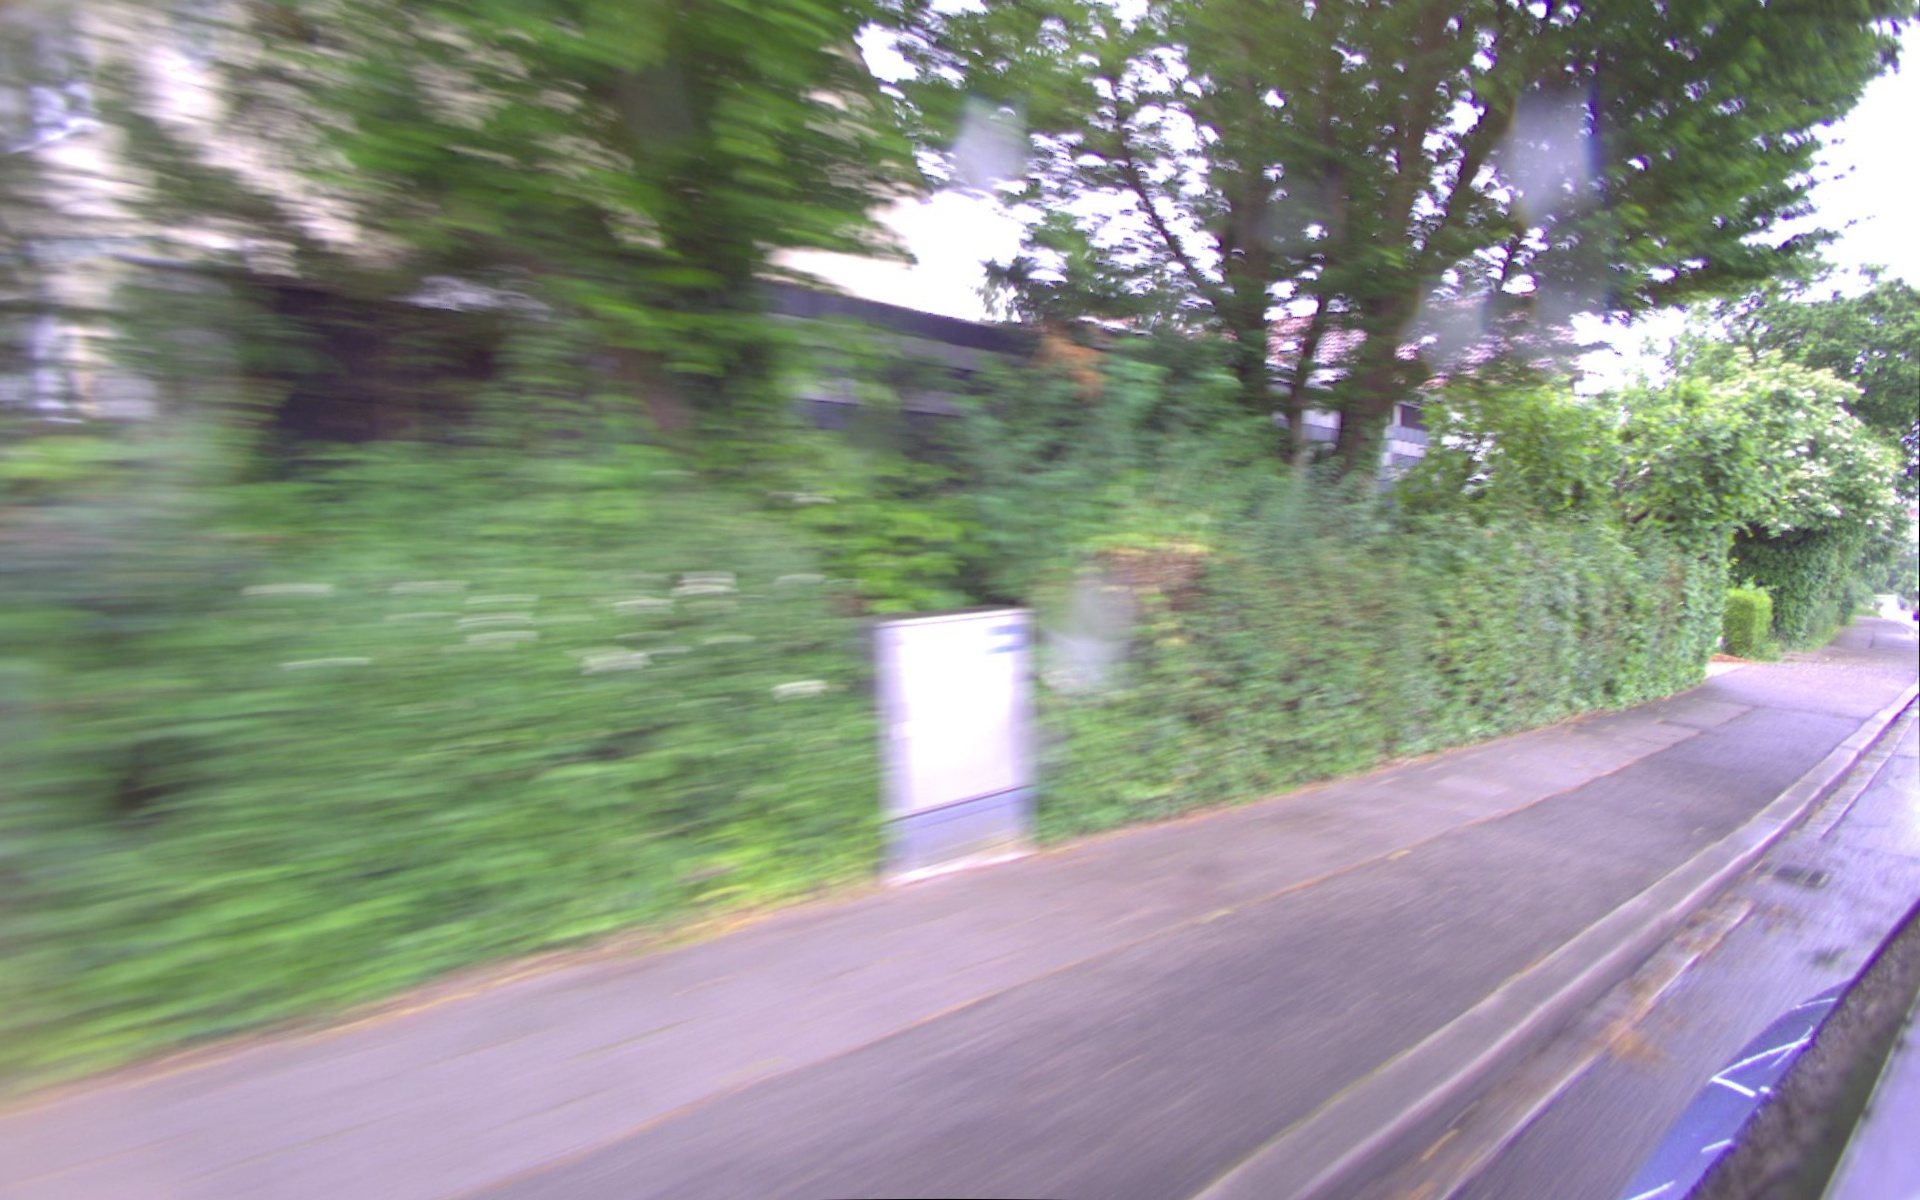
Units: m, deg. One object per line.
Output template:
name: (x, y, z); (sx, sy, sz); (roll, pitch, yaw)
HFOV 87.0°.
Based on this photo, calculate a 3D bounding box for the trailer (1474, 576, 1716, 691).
trailer: (10.393, 0.592, 16.685); (1.464, 1.591, 2.980); (0, -6, -44)
